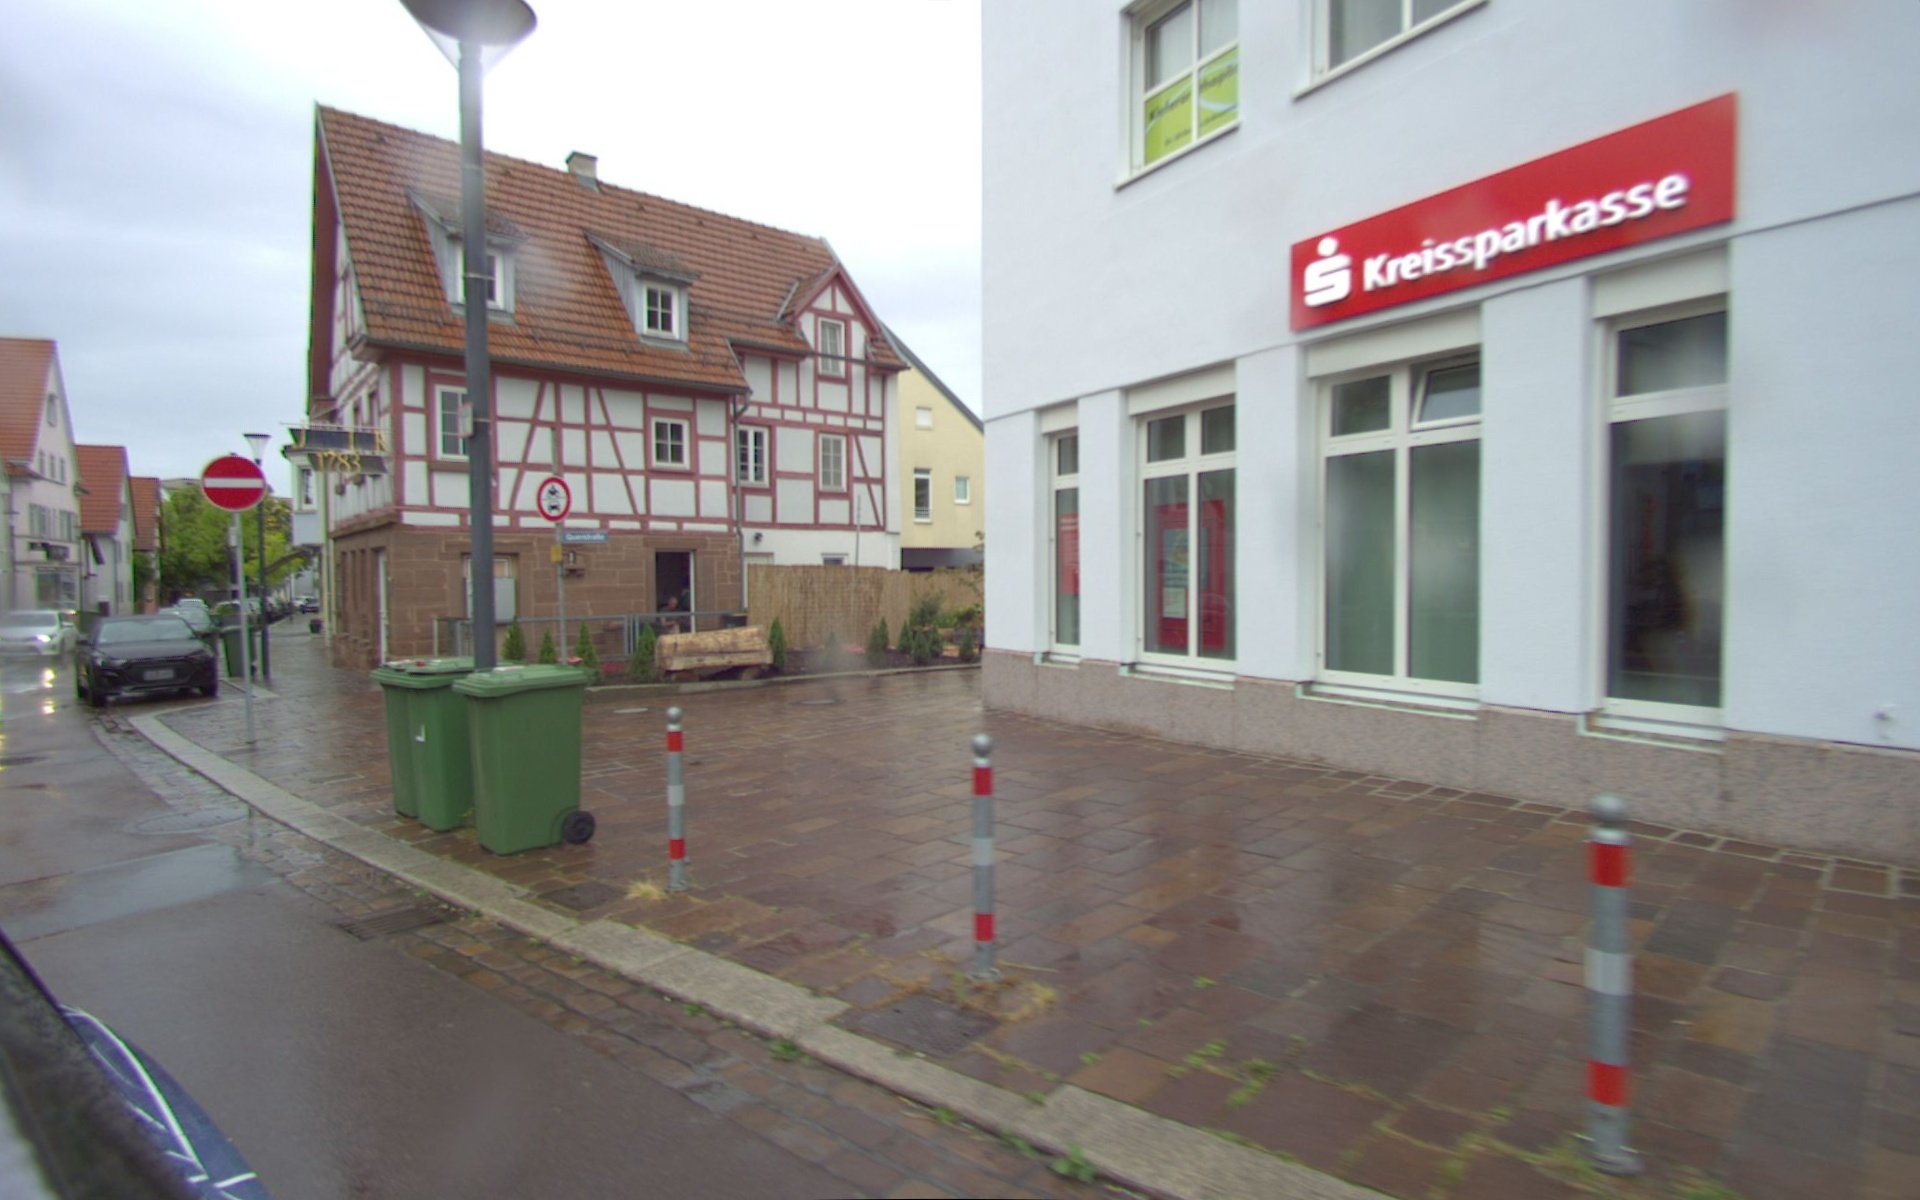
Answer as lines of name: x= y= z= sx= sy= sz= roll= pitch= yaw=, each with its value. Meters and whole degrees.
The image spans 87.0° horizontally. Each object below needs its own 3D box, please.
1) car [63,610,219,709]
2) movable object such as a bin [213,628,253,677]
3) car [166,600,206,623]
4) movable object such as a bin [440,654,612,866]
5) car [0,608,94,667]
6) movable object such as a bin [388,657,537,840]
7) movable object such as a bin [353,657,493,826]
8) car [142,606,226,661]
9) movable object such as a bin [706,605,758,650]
car: x=-14.664 y=0.962 z=18.043 sx=1.781 sy=1.453 sz=4.003 roll=-3 pitch=2 yaw=-44
movable object such as a bin: x=-15.822 y=1.138 z=22.020 sx=0.530 sy=1.030 sz=0.604 roll=0 pitch=0 yaw=42
car: x=-52.354 y=0.757 z=68.489 sx=1.838 sy=1.471 sz=4.011 roll=-1 pitch=0 yaw=-33
movable object such as a bin: x=-2.591 y=0.910 z=6.053 sx=0.645 sy=1.084 sz=0.688 roll=0 pitch=3 yaw=42
car: x=-27.702 y=1.076 z=30.275 sx=1.837 sy=1.598 sz=4.629 roll=0 pitch=0 yaw=-29
movable object such as a bin: x=-3.270 y=0.933 z=6.654 sx=0.645 sy=1.059 sz=0.688 roll=0 pitch=0 yaw=42
movable object such as a bin: x=-3.766 y=0.954 z=7.099 sx=0.645 sy=1.055 sz=0.688 roll=0 pitch=0 yaw=42
car: x=-23.883 y=0.984 z=31.257 sx=1.778 sy=1.453 sz=4.011 roll=-3 pitch=2 yaw=-34
movable object such as a bin: x=-4.561 y=0.541 z=20.264 sx=0.756 sy=0.863 sz=0.700 roll=0 pitch=0 yaw=42
